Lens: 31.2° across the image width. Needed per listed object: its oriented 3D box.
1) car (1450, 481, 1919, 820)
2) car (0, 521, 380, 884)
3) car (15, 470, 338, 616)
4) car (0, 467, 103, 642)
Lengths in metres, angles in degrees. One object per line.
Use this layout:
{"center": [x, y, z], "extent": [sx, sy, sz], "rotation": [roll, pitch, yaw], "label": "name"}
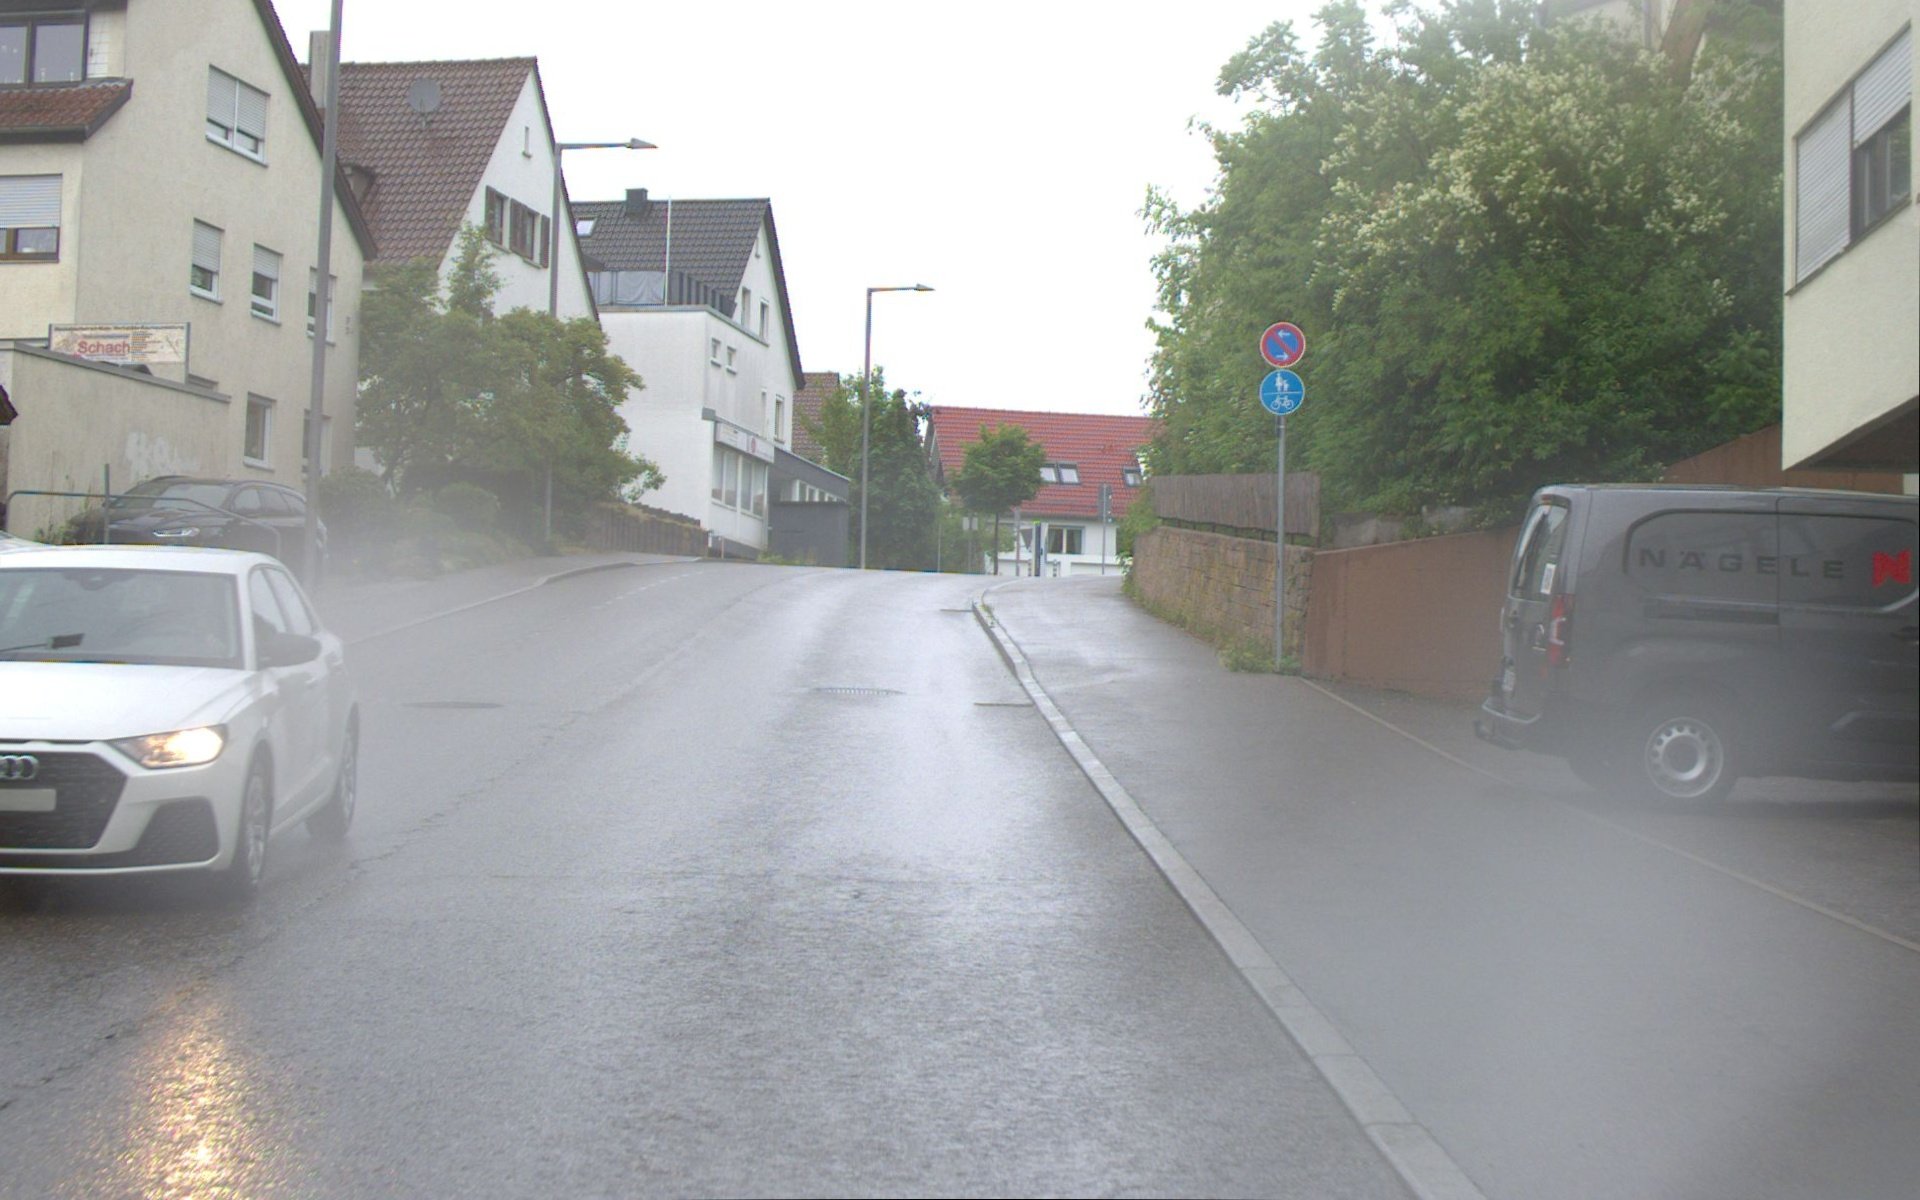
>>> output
{"center": [5.344, 0.270, 19.753], "extent": [4.707, 1.814, 2.000], "rotation": [1, 1, -1], "label": "car"}
{"center": [-3.778, 0.377, 15.226], "extent": [1.702, 1.383, 4.051], "rotation": [-1, 1, 0], "label": "car"}
{"center": [-9.568, -0.713, 42.460], "extent": [1.975, 1.653, 4.960], "rotation": [1, 1, 12], "label": "car"}
{"center": [-10.207, -0.462, 30.841], "extent": [4.498, 1.500, 1.900], "rotation": [1, 1, 11], "label": "car"}
